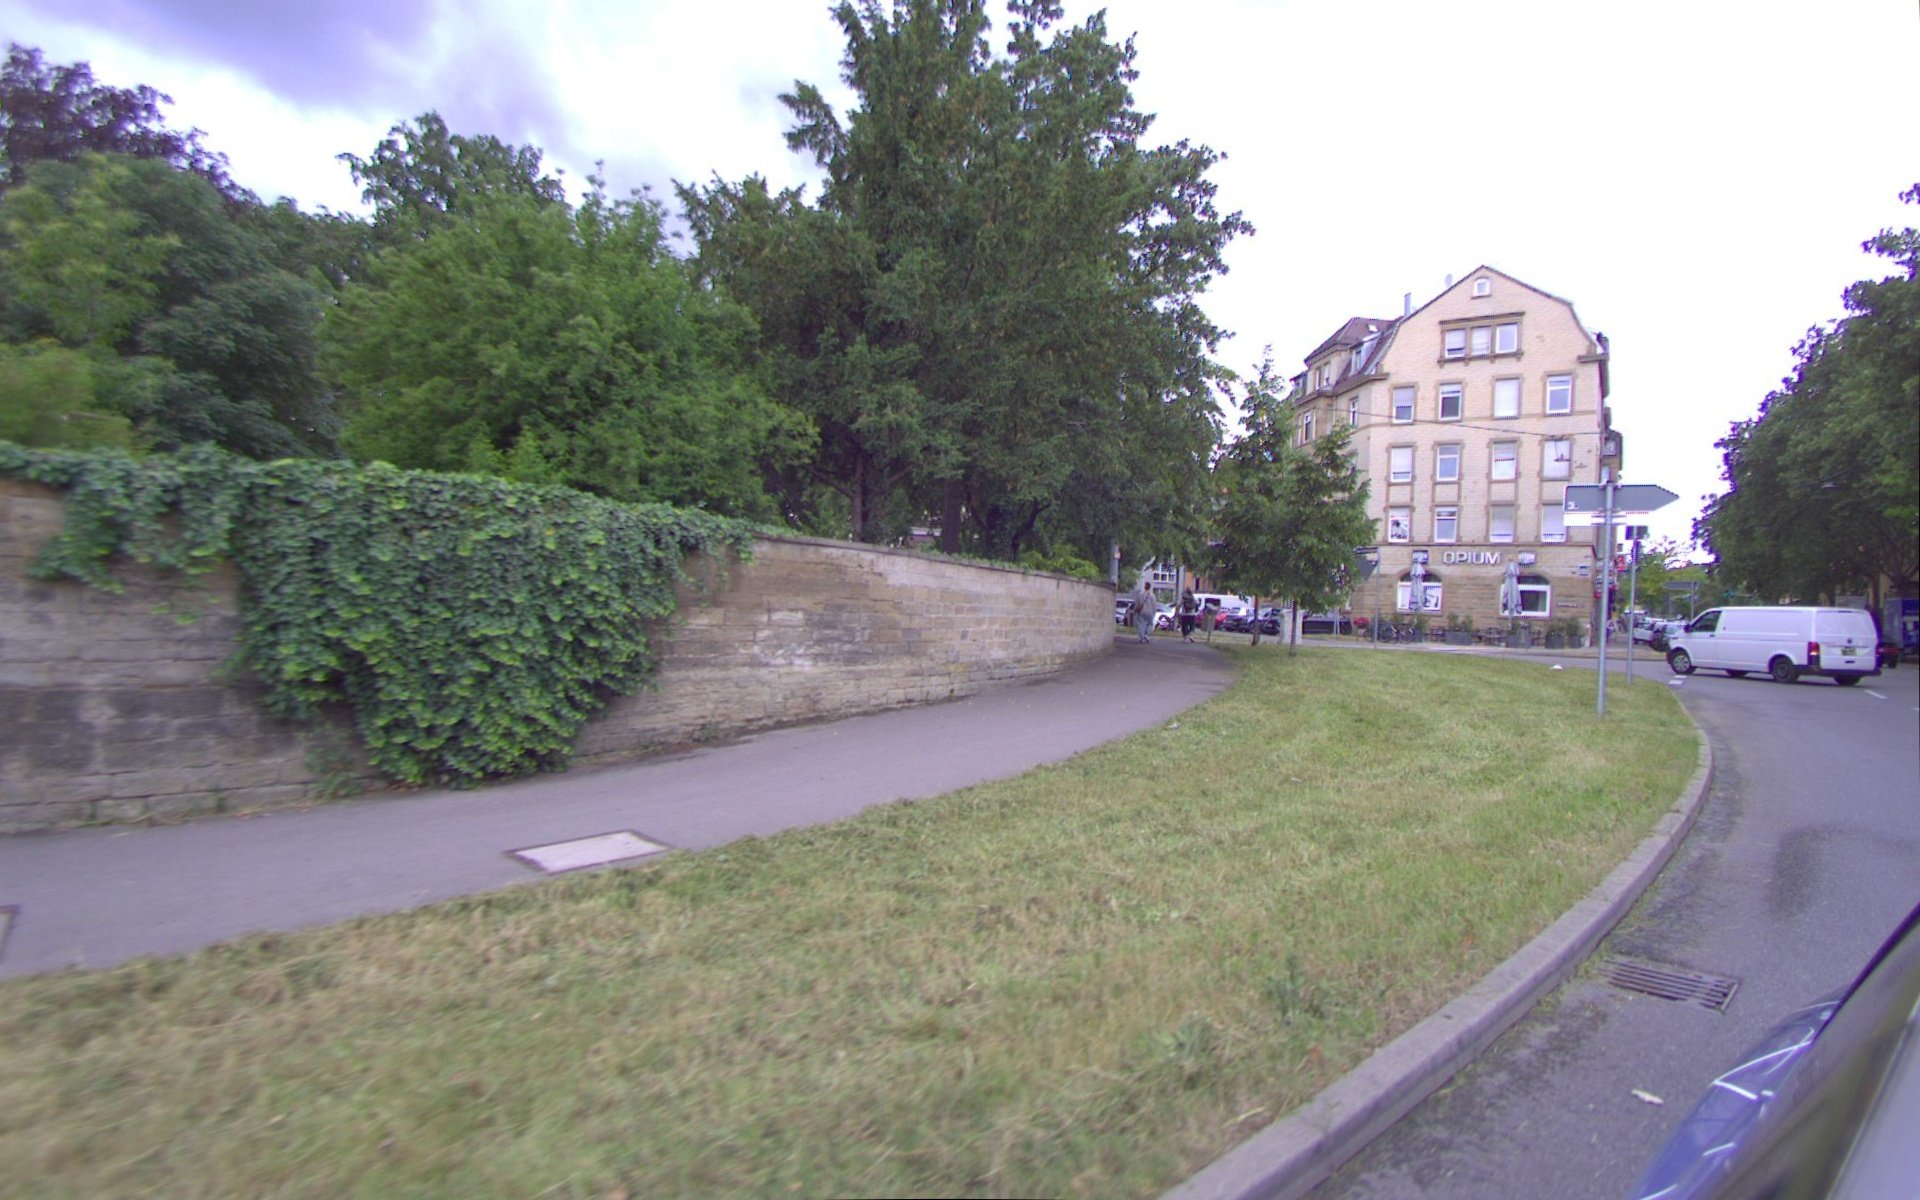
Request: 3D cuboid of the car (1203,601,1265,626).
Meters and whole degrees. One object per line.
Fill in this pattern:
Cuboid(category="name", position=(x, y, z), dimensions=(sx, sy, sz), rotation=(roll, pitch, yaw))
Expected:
Cuboid(category="car", position=(16.684, 0.795, 61.665), dimensions=(3.226, 1.455, 1.552), rotation=(0, 0, -13))

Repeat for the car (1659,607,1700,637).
Cuboid(category="car", position=(45.195, 1.359, 63.624), dimensions=(1.671, 1.684, 4.493), rotation=(4, 1, 31))

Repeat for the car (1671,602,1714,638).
Cuboid(category="car", position=(35.968, 0.946, 49.756), dimensions=(1.560, 1.630, 3.608), rotation=(2, 1, 34))

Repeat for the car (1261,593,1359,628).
Cuboid(category="car", position=(17.998, 0.519, 52.170), dimensions=(4.284, 1.616, 2.003), rotation=(2, 1, -6))

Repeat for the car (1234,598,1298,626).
Cuboid(category="car", position=(17.189, 0.673, 56.838), dimensions=(3.093, 1.555, 1.552), rotation=(1, -1, -16))

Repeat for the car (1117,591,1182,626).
Cuboid(category="car", position=(9.188, 0.372, 49.337), dimensions=(1.775, 1.517, 4.285), rotation=(2, 1, -8))

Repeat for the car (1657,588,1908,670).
Cuboid(category="car", position=(21.411, 0.704, 26.736), dimensions=(2.169, 1.956, 5.242), rotation=(0, -1, -2))

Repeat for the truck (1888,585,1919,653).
Cuboid(category="truck", position=(51.737, 0.977, 53.911), dimensions=(2.206, 3.460, 7.160), rotation=(-1, -1, 33))

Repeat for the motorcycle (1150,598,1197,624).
Cuboid(category="motorcycle", position=(9.649, 0.498, 45.759), dimensions=(1.983, 1.184, 0.554), rotation=(0, -1, 32))

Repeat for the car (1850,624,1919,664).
Cuboid(category="car", position=(38.729, 1.802, 42.348), dimensions=(1.694, 1.444, 4.197), rotation=(2, 1, 34))

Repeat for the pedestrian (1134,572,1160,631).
Cuboid(category="pedestrian", position=(5.285, 0.047, 28.669), dimensions=(0.571, 1.604, 0.574), rotation=(4, 1, 6))

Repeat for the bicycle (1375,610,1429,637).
Cuboid(category="bicycle", position=(20.059, 1.041, 45.960), dimensions=(0.590, 1.079, 2.187), rotation=(2, 1, -37))

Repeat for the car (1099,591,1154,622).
Cuboid(category="car", position=(9.031, 0.346, 55.185), dimensions=(1.960, 1.616, 4.376), rotation=(1, 0, -5))

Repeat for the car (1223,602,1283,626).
Cuboid(category="car", position=(17.286, 0.818, 59.772), dimensions=(3.111, 1.419, 1.476), rotation=(0, 0, -15))

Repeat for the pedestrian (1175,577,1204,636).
Cuboid(category="pedestrian", position=(7.057, 0.192, 31.121), dimensions=(0.699, 1.756, 0.660), rotation=(2, -1, 2))

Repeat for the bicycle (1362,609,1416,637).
Cuboid(category="bicycle", position=(19.247, 1.022, 45.432), dimensions=(0.590, 1.079, 2.187), rotation=(2, 1, -37))

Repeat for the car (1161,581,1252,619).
Cuboid(category="car", position=(16.313, -0.037, 67.119), dimensions=(5.388, 2.320, 2.002), rotation=(2, 1, -5))
